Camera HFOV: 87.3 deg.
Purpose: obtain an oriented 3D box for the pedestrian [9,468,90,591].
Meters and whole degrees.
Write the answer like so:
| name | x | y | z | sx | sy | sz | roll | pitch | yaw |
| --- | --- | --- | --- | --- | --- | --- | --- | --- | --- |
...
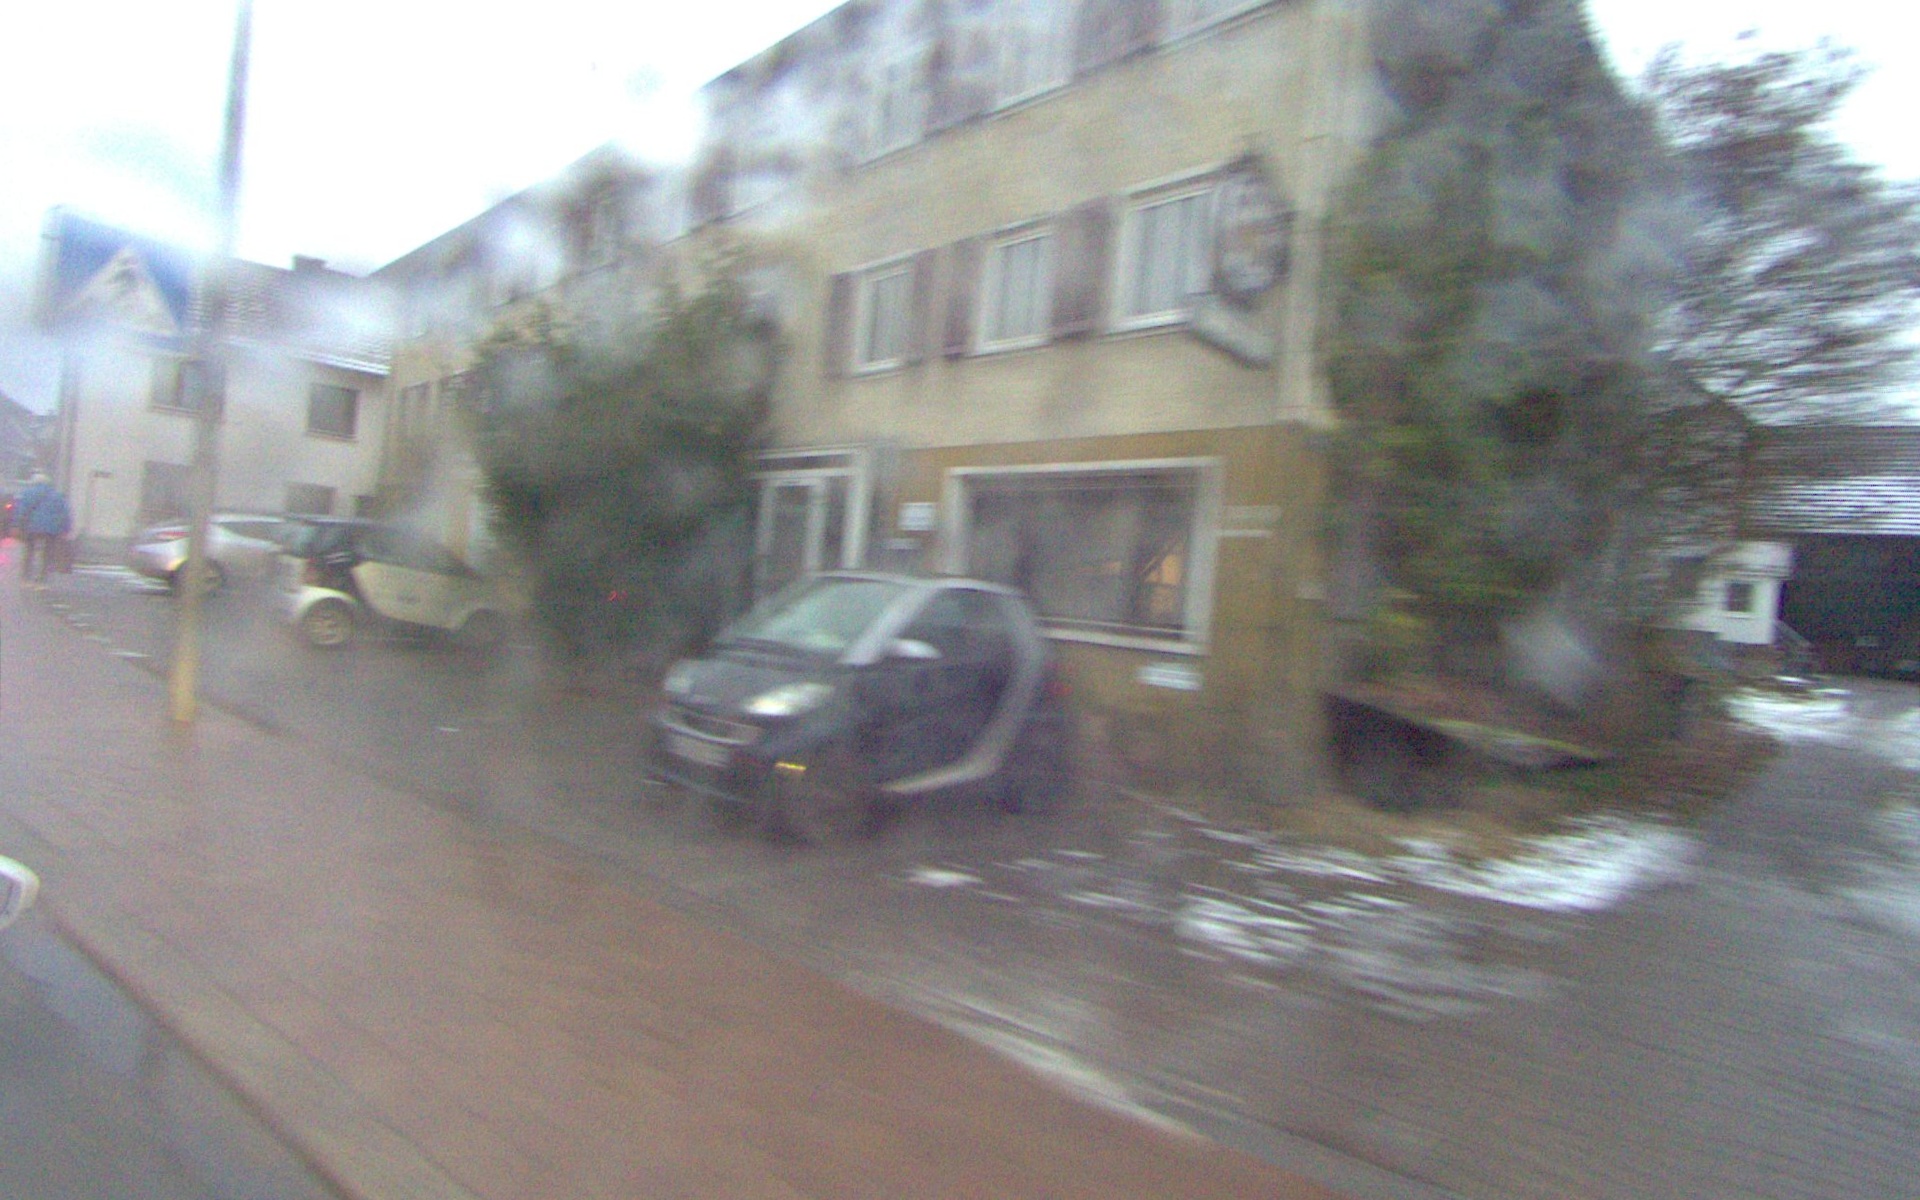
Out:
| name | x | y | z | sx | sy | sz | roll | pitch | yaw |
| --- | --- | --- | --- | --- | --- | --- | --- | --- | --- |
| pedestrian | -13.905 | -1.065 | 15.391 | 0.843 | 1.757 | 0.961 | 2 | 4 | -40 |

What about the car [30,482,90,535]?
| name | x | y | z | sx | sy | sz | roll | pitch | yaw |
| --- | --- | --- | --- | --- | --- | --- | --- | --- | --- |
| car | -47.432 | -4.775 | 53.070 | 1.803 | 2.443 | 3.715 | 6 | 0 | -36 |

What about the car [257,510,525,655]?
| name | x | y | z | sx | sy | sz | roll | pitch | yaw |
| --- | --- | --- | --- | --- | --- | --- | --- | --- | --- |
| car | -7.240 | -0.188 | 12.901 | 1.530 | 1.567 | 2.577 | 7 | 2 | 42 |

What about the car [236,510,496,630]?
| name | x | y | z | sx | sy | sz | roll | pitch | yaw |
| --- | --- | --- | --- | --- | --- | --- | --- | --- | --- |
| car | -8.963 | -0.418 | 15.293 | 1.530 | 1.493 | 3.054 | 7 | 1 | 45 |

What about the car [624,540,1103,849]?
| name | x | y | z | sx | sy | sz | roll | pitch | yaw |
| --- | --- | --- | --- | --- | --- | --- | --- | --- | --- |
| car | -0.501 | 0.526 | 6.501 | 1.407 | 1.493 | 2.756 | 7 | 1 | 42 |

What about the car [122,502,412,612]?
| name | x | y | z | sx | sy | sz | roll | pitch | yaw |
| --- | --- | --- | --- | --- | --- | --- | --- | --- | --- |
| car | -12.011 | -0.716 | 17.585 | 1.728 | 1.493 | 3.887 | 7 | 1 | 45 |

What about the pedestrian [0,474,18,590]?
| name | x | y | z | sx | sy | sz | roll | pitch | yaw |
| --- | --- | --- | --- | --- | --- | --- | --- | --- | --- |
| pedestrian | -14.568 | -1.044 | 14.860 | 0.862 | 1.690 | 0.981 | 2 | 4 | -40 |
